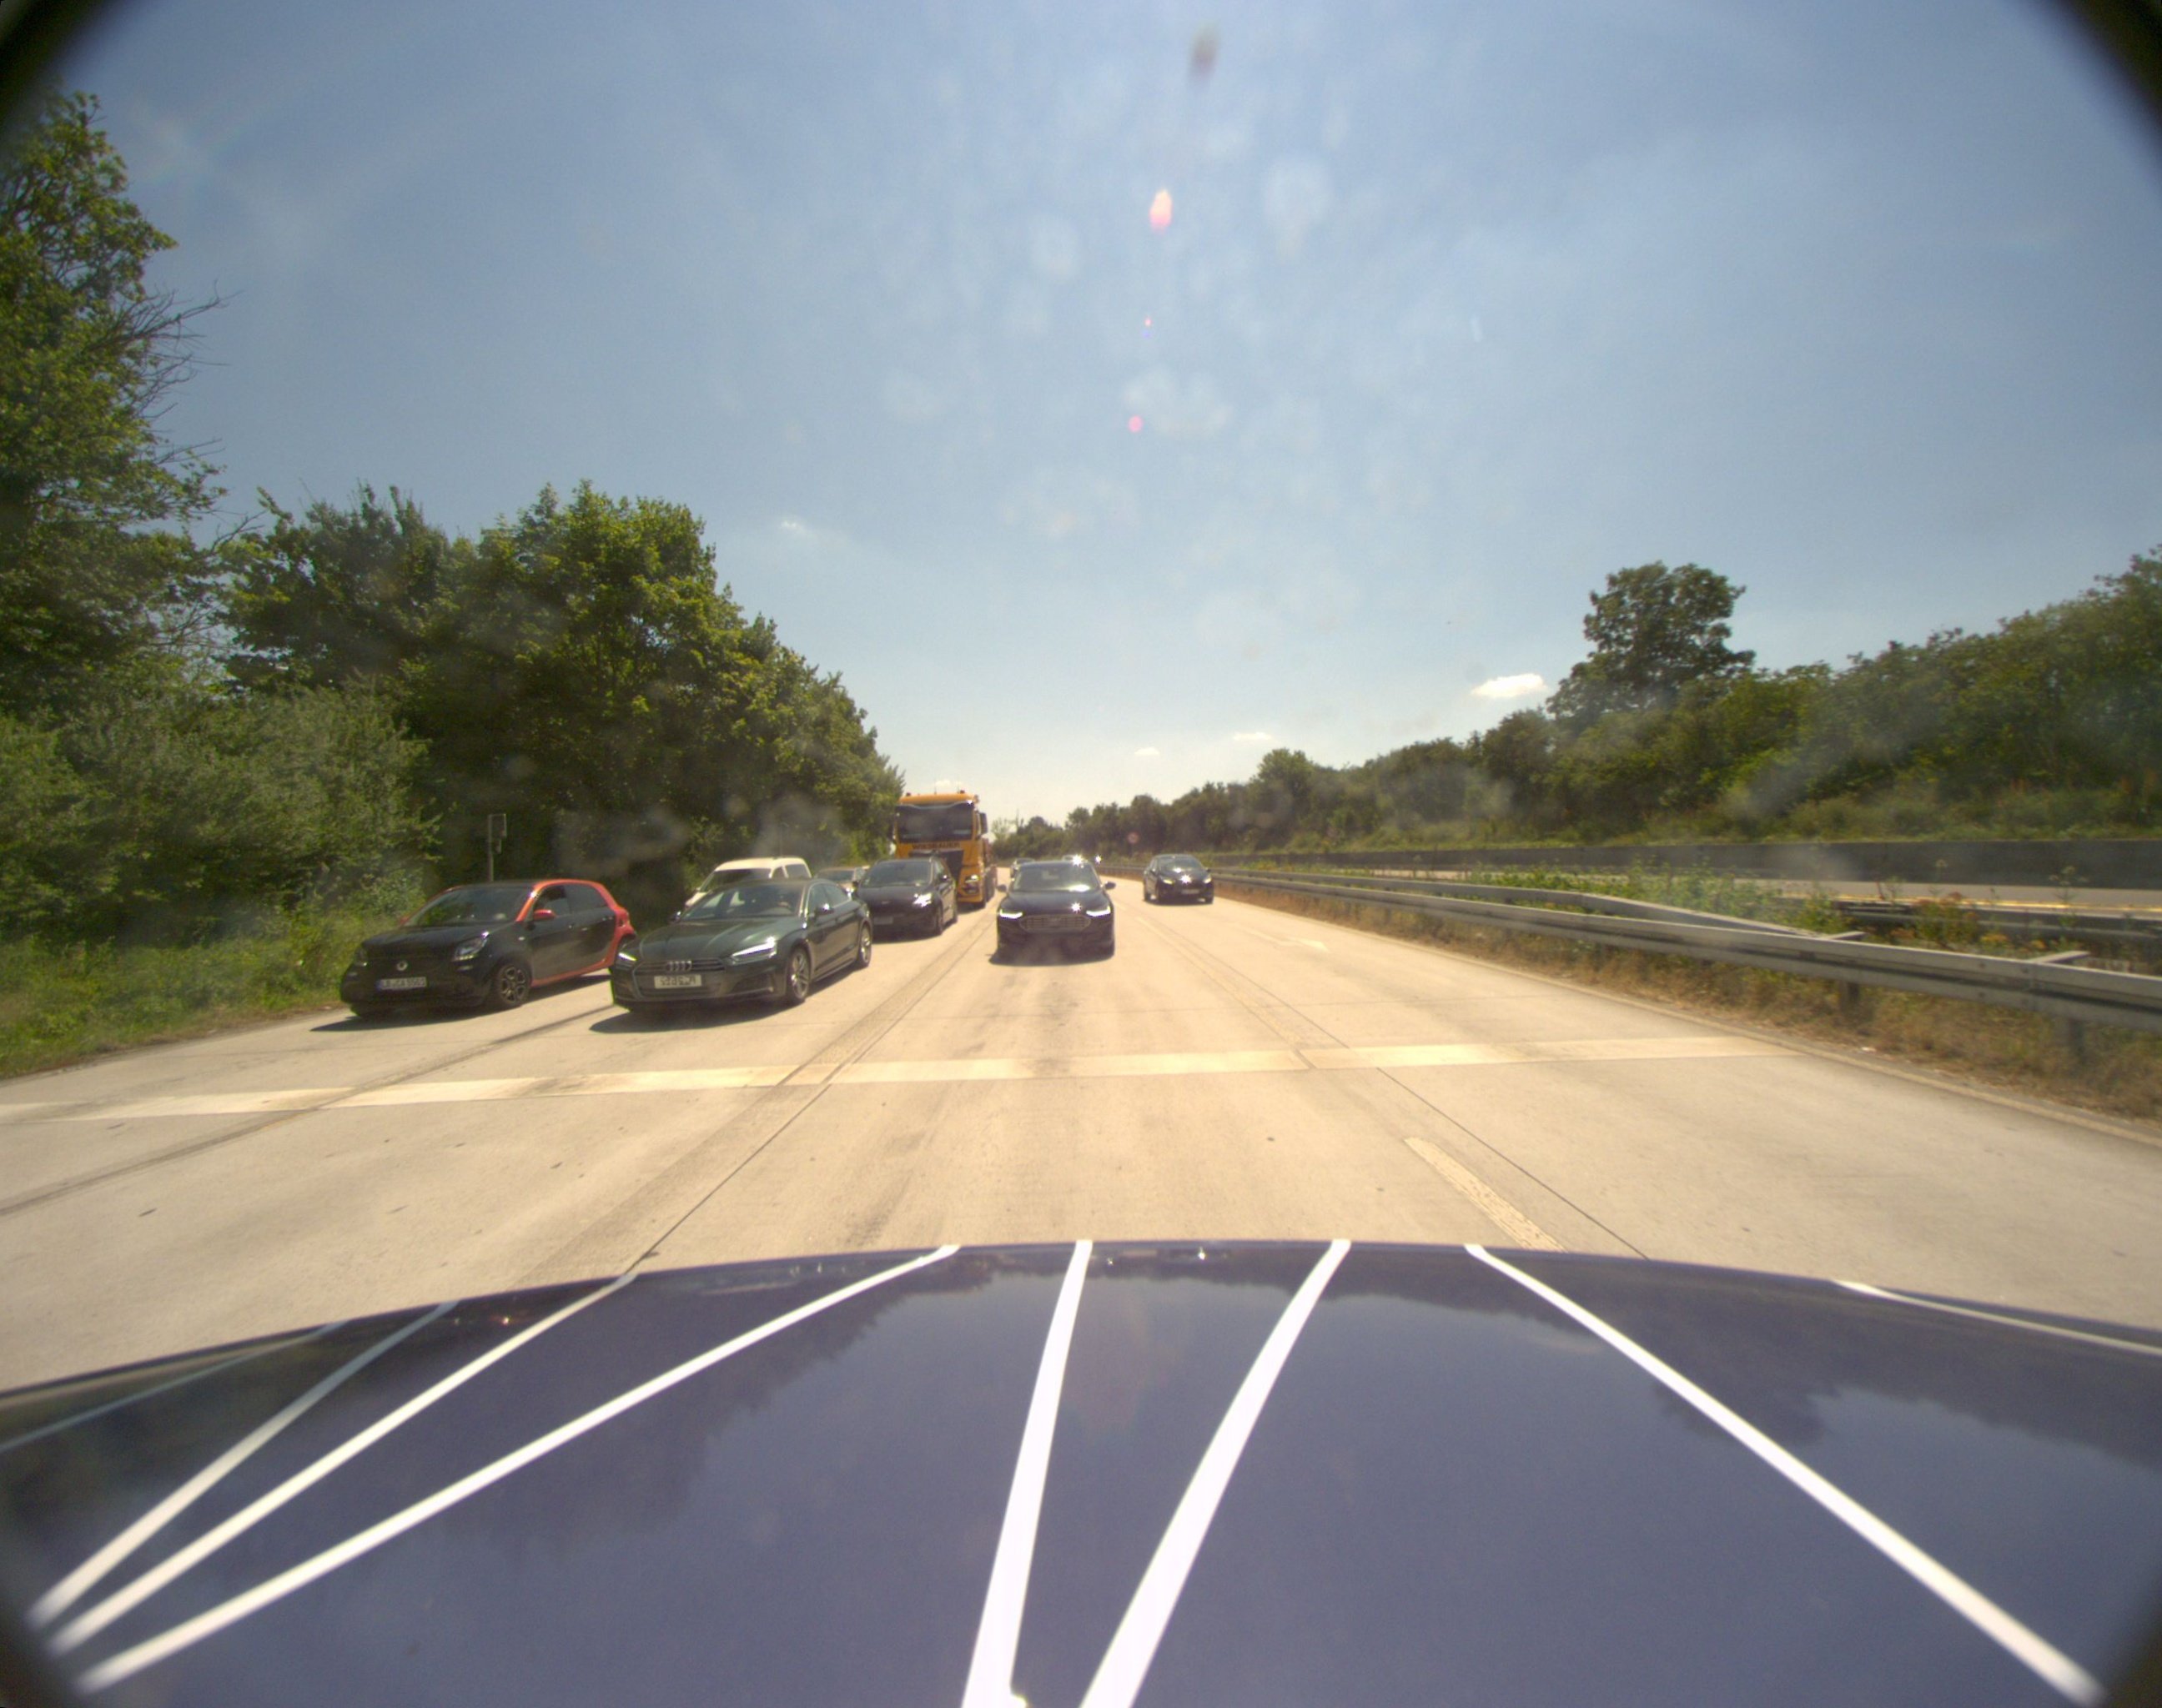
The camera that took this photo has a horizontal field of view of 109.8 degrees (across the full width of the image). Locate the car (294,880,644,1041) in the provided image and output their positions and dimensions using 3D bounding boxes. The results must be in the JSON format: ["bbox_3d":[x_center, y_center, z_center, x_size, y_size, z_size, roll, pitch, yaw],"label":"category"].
[{"bbox_3d":[-7.667,1.212,10.063,1.772,1.501,3.649,-2,1,-4],"label":"car"}]

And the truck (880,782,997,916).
[{"bbox_3d":[-4.498,-0.186,25.569,3.022,3.751,7.465,-2,1,-5],"label":"truck"}]

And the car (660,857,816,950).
[{"bbox_3d":[-7.943,1.032,18.161,1.773,1.797,4.790,-2,1,-4],"label":"car"}]

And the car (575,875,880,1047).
[{"bbox_3d":[-3.995,1.090,9.601,1.772,1.402,4.608,-2,1,-2],"label":"car"}]

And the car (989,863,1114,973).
[{"bbox_3d":[-0.473,0.941,13.026,1.731,1.430,4.303,-2,0,-2],"label":"car"}]

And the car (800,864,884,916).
[{"bbox_3d":[-8.006,1.155,25.848,1.773,1.454,4.361,-2,1,-5],"label":"car"}]

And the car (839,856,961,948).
[{"bbox_3d":[-3.823,0.921,16.842,1.789,1.630,4.645,-2,1,-3],"label":"car"}]

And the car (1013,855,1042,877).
[{"bbox_3d":[-3.973,0.842,56.124,1.891,1.456,3.997,-2,1,-7],"label":"car"}]

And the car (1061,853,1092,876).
[{"bbox_3d":[-0.342,0.720,52.896,1.707,1.456,3.997,-2,1,-6],"label":"car"}]

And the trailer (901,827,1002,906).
[{"bbox_3d":[-5.213,0.405,33.837,3.036,2.578,16.348,-2,0,-5],"label":"trailer"}]

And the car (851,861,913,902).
[{"bbox_3d":[-8.324,1.095,32.162,1.773,1.454,4.595,-2,1,-6],"label":"car"}]

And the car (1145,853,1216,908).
[{"bbox_3d":[3.030,0.771,23.841,1.627,1.476,3.999,-2,1,-1],"label":"car"}]
